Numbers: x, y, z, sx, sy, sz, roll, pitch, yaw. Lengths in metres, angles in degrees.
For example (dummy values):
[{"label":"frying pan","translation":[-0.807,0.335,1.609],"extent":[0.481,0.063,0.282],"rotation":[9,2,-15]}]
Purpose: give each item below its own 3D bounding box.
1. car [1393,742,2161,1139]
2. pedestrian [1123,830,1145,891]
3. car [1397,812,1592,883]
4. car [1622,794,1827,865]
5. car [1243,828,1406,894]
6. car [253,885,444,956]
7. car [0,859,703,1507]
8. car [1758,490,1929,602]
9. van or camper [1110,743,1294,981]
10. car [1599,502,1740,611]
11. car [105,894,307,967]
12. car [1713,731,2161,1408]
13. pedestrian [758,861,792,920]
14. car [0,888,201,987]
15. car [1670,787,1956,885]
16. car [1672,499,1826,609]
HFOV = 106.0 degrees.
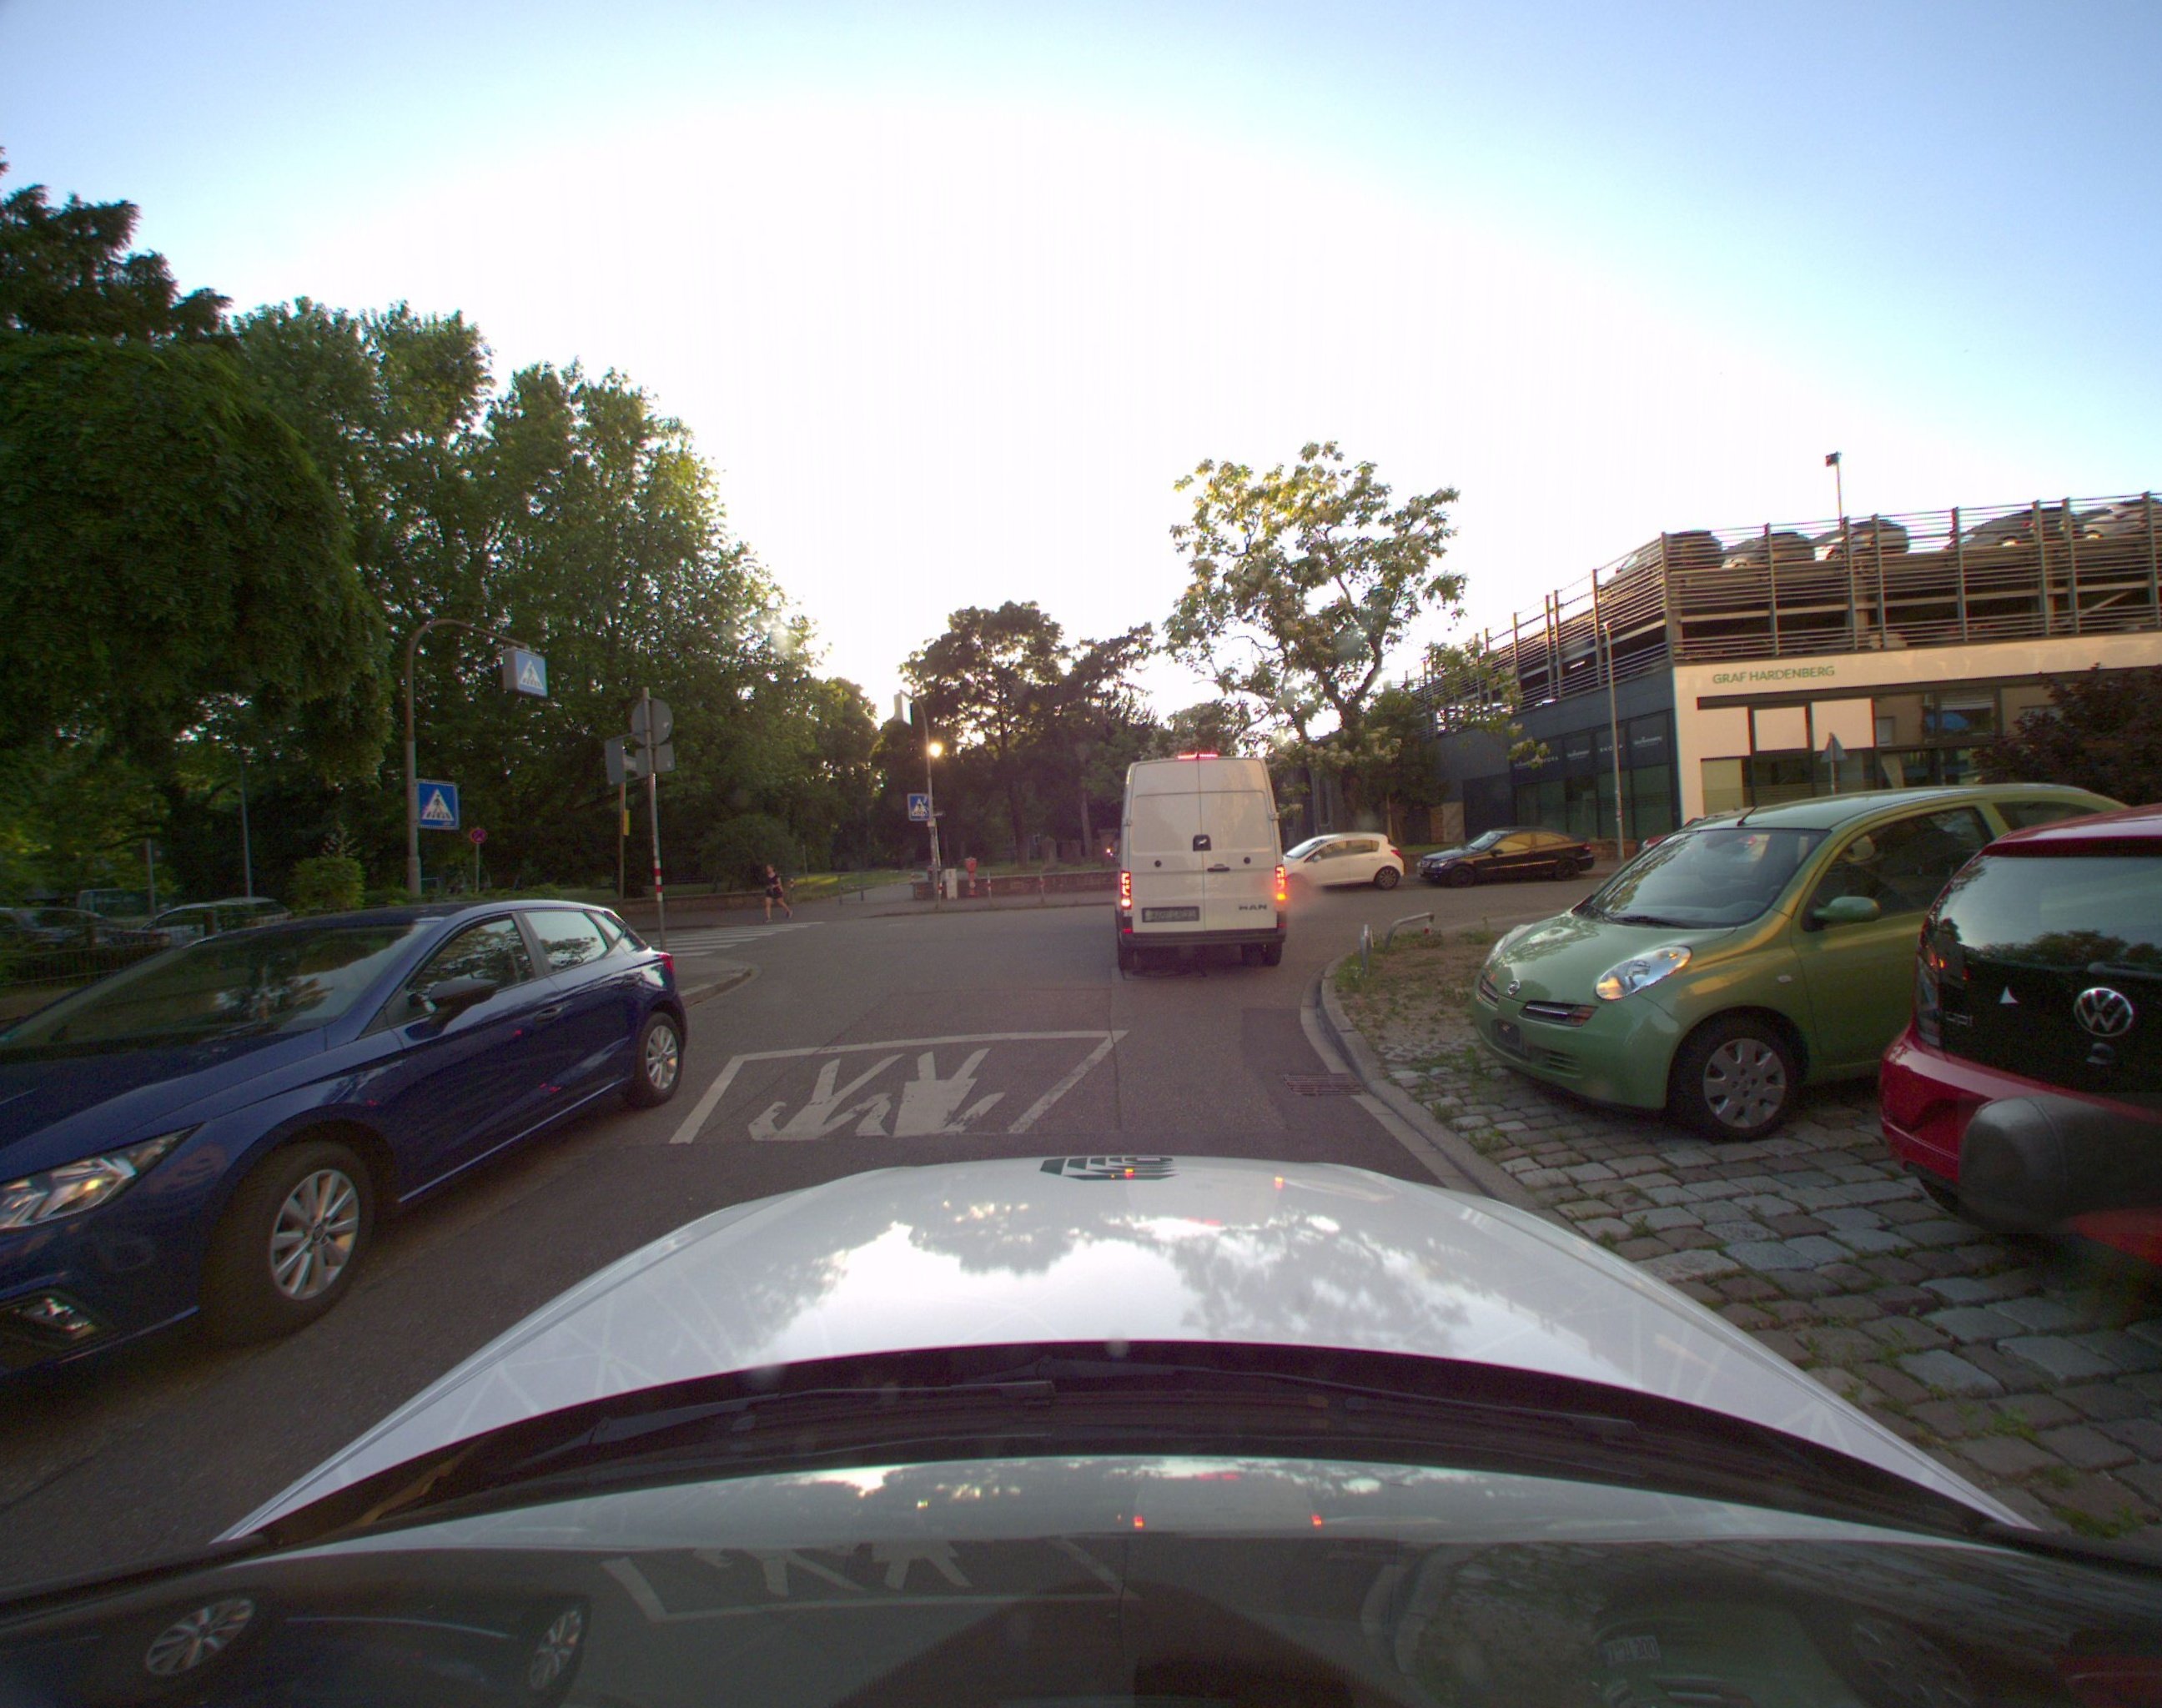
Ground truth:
[{"label":"car","translation":[4.443,0.365,4.815],"extent":[4.392,1.631,1.844],"rotation":[-4,-2,-2]},{"label":"pedestrian","translation":[1.601,0.192,24.853],"extent":[0.591,1.809,0.621],"rotation":[-2,0,2]},{"label":"car","translation":[11.077,-0.173,22.054],"extent":[4.273,1.503,1.825],"rotation":[-4,0,4]},{"label":"car","translation":[16.814,-0.631,21.452],"extent":[3.820,1.503,1.826],"rotation":[-4,0,4]},{"label":"car","translation":[6.616,0.177,22.450],"extent":[3.844,1.574,1.957],"rotation":[-3,0,-2]},{"label":"car","translation":[-20.976,1.884,23.427],"extent":[3.832,1.491,1.828],"rotation":[-4,6,7]},{"label":"car","translation":[-3.544,0.891,3.870],"extent":[1.729,1.567,3.787],"rotation":[-5,0,-3]},{"label":"car","translation":[24.496,-9.841,26.406],"extent":[1.984,2.013,4.006],"rotation":[-2,0,6]},{"label":"van or camper","translation":[1.510,0.060,12.318],"extent":[1.985,2.618,6.407],"rotation":[-1,0,3]},{"label":"car","translation":[19.205,-9.653,26.830],"extent":[1.984,2.013,4.006],"rotation":[-2,0,6]},{"label":"car","translation":[-25.680,2.216,24.008],"extent":[3.852,1.562,1.826],"rotation":[-4,6,3]},{"label":"car","translation":[4.754,0.276,2.256],"extent":[4.386,1.631,1.847],"rotation":[-7,0,2]},{"label":"pedestrian","translation":[-8.896,1.046,23.651],"extent":[0.640,1.648,0.678],"rotation":[-1,0,43]},{"label":"car","translation":[-21.475,1.775,17.032],"extent":[4.212,1.799,1.824],"rotation":[-4,-3,2]},{"label":"car","translation":[14.242,-0.332,16.051],"extent":[3.820,1.523,1.826],"rotation":[-4,0,4]},{"label":"car","translation":[21.770,-9.731,26.791],"extent":[1.984,2.013,4.006],"rotation":[-2,0,6]}]
